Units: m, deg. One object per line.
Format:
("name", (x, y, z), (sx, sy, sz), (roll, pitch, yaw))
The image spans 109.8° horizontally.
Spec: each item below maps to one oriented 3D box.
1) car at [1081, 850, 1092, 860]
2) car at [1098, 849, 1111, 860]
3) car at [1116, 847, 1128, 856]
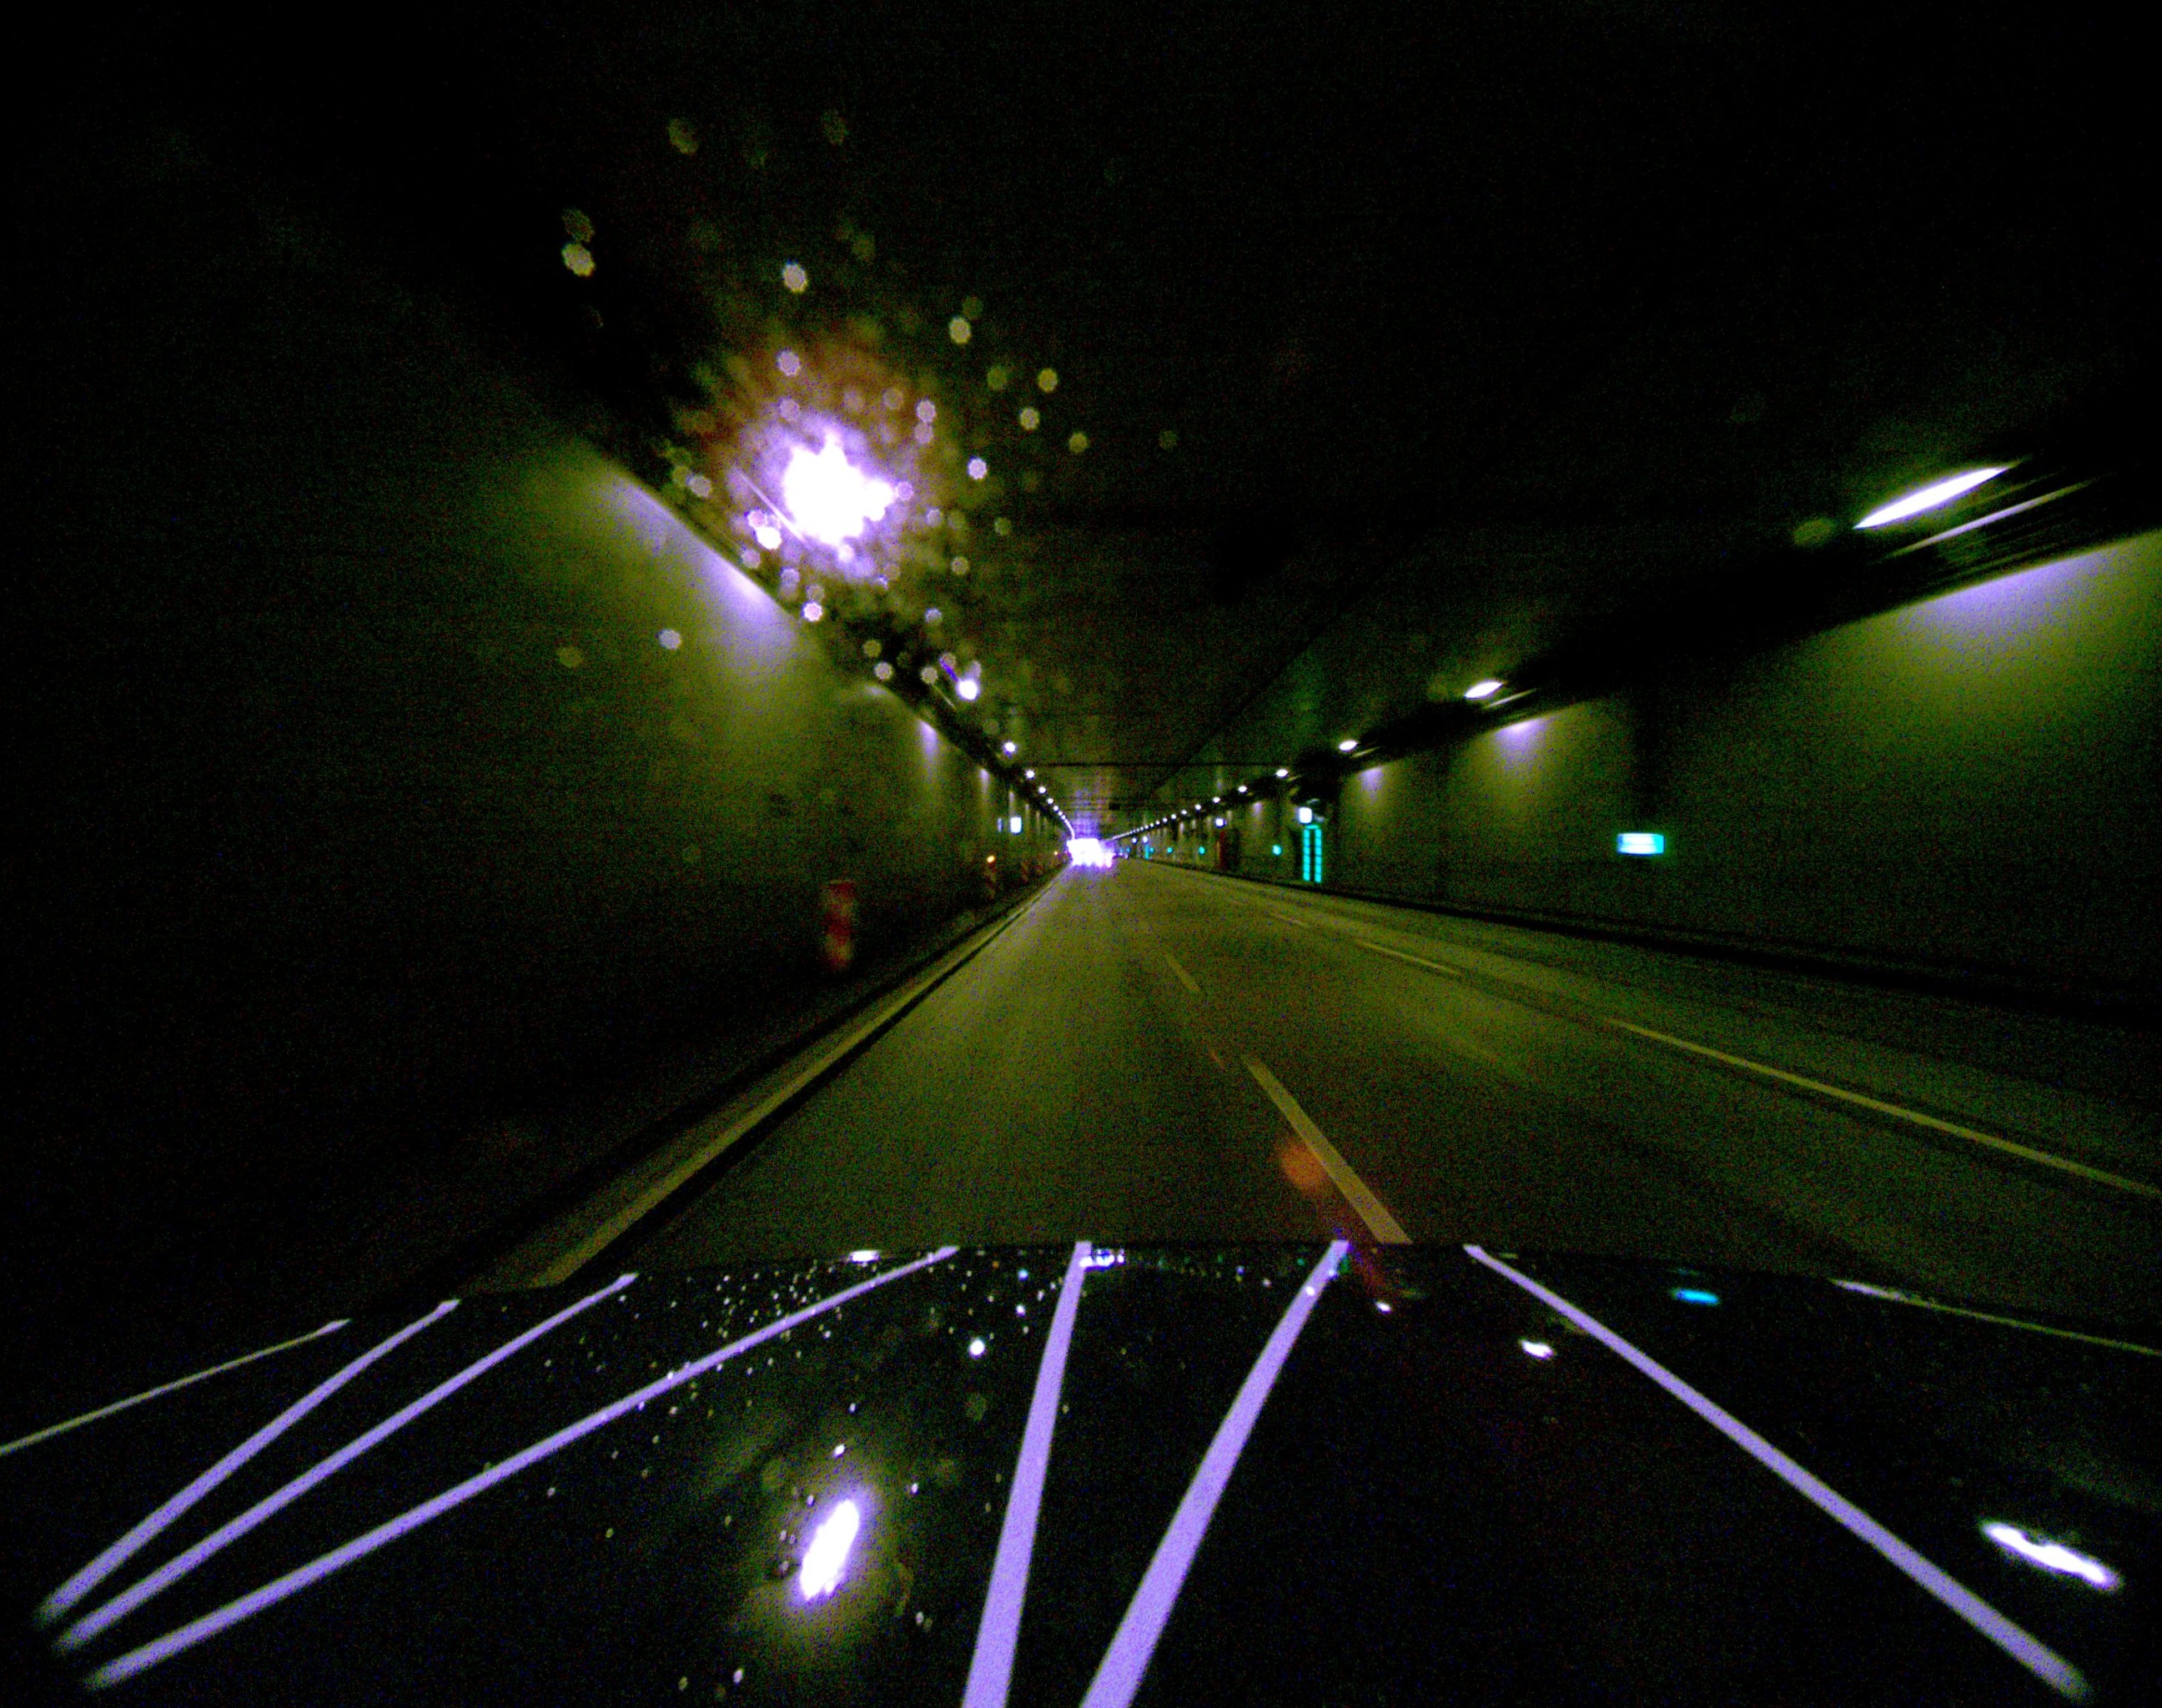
("car", (0.996, 0.096, 135.221), (1.998, 1.686, 4.000), (-1, 1, 1))
("car", (3.836, 0.081, 122.758), (1.998, 1.686, 4.000), (-2, 0, 2))
("car", (7.690, -0.488, 141.927), (1.998, 1.685, 4.001), (0, -1, 1))
